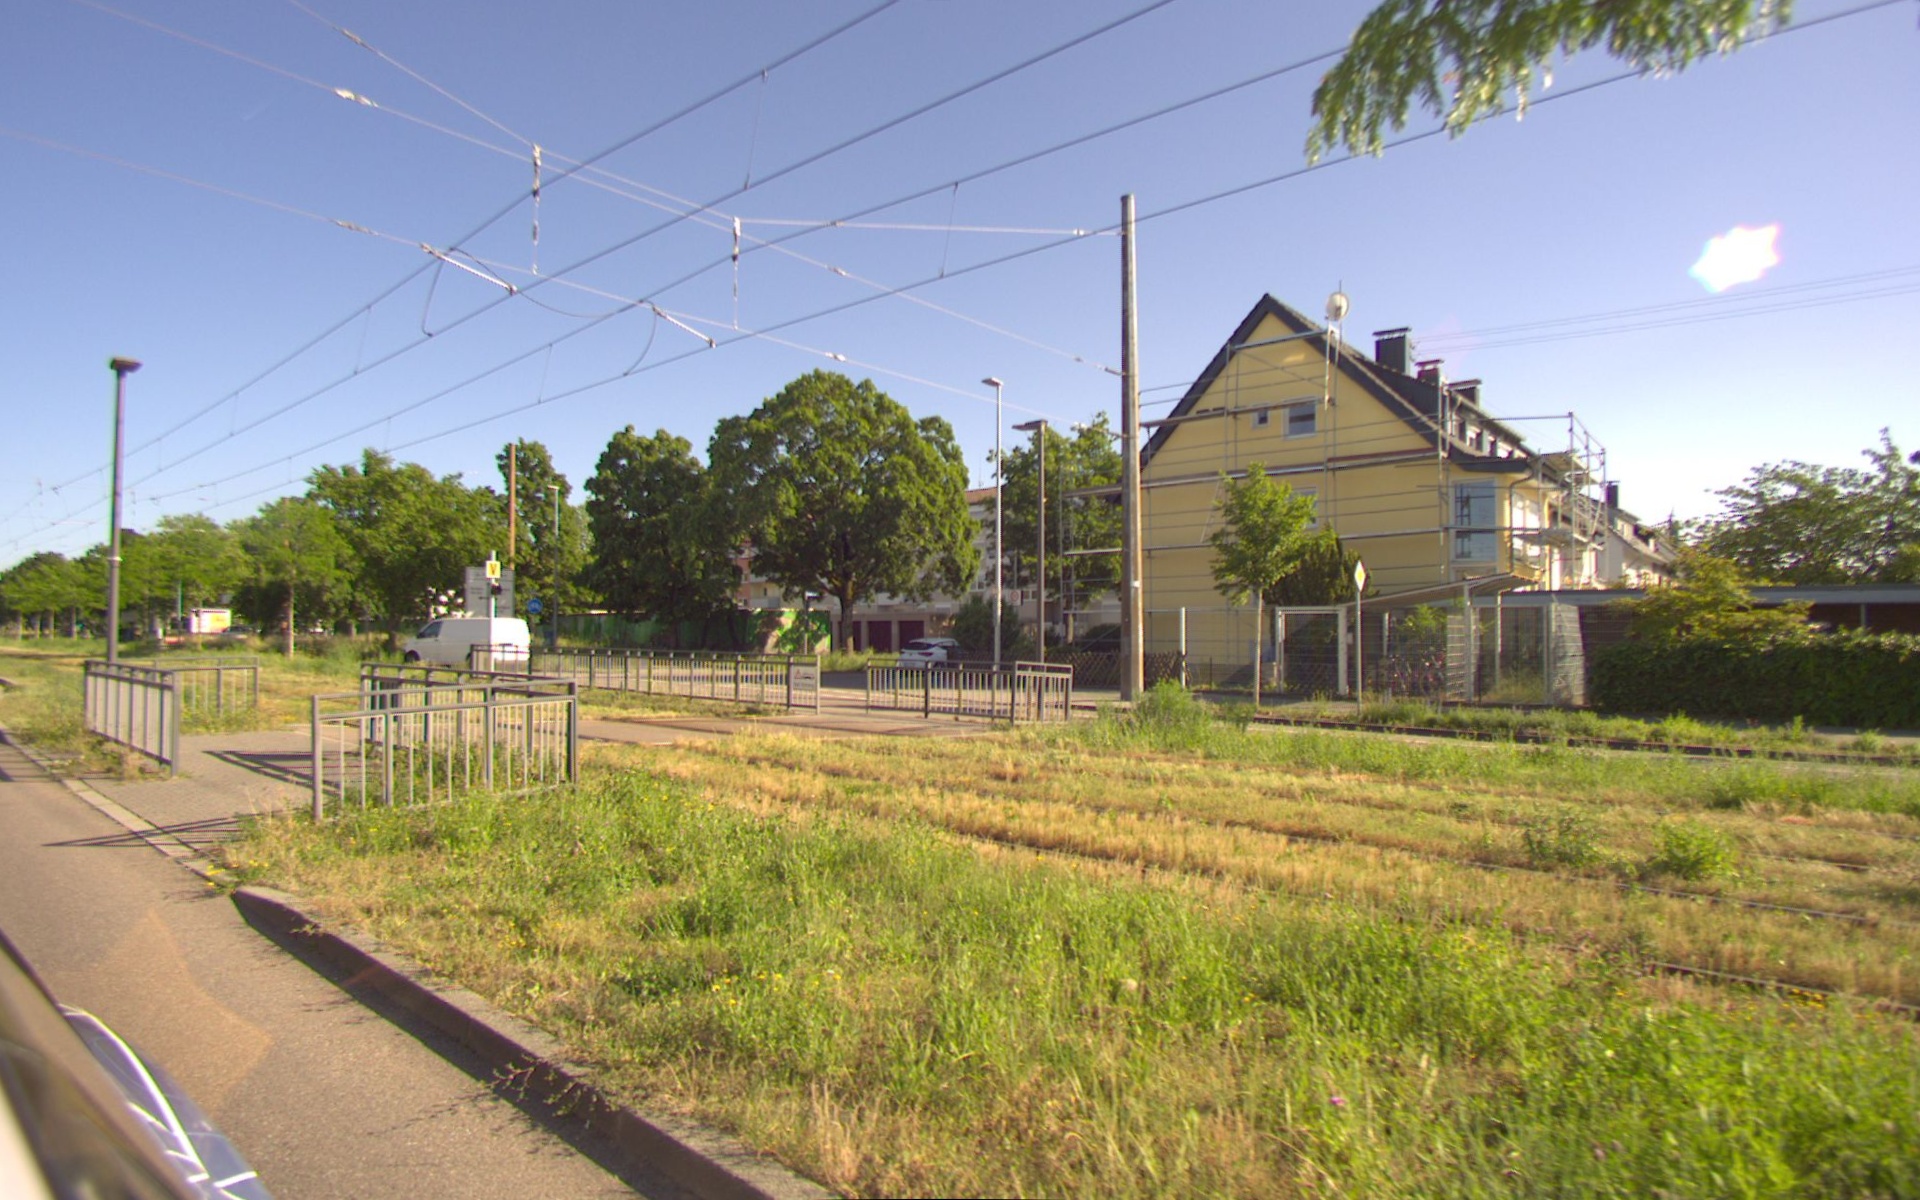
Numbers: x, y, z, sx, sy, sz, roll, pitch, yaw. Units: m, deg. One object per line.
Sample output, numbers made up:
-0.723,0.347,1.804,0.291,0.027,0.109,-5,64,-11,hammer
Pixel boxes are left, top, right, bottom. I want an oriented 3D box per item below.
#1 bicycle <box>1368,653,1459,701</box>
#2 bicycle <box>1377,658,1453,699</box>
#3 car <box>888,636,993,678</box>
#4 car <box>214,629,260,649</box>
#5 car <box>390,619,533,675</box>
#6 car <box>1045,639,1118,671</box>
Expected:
9.801,1.650,21.899,1.748,0.949,0.419,-1,0,41,bicycle
10.117,1.736,22.543,1.508,0.827,0.307,-1,0,41,bicycle
-0.680,2.137,38.633,1.852,1.414,3.946,1,-1,40,car
-73.655,3.998,103.200,1.868,1.925,4.820,0,-2,-9,car
-17.995,1.675,36.591,4.664,1.929,1.892,-1,-2,19,car
5.582,2.477,46.139,1.559,1.356,3.692,1,-1,40,car
